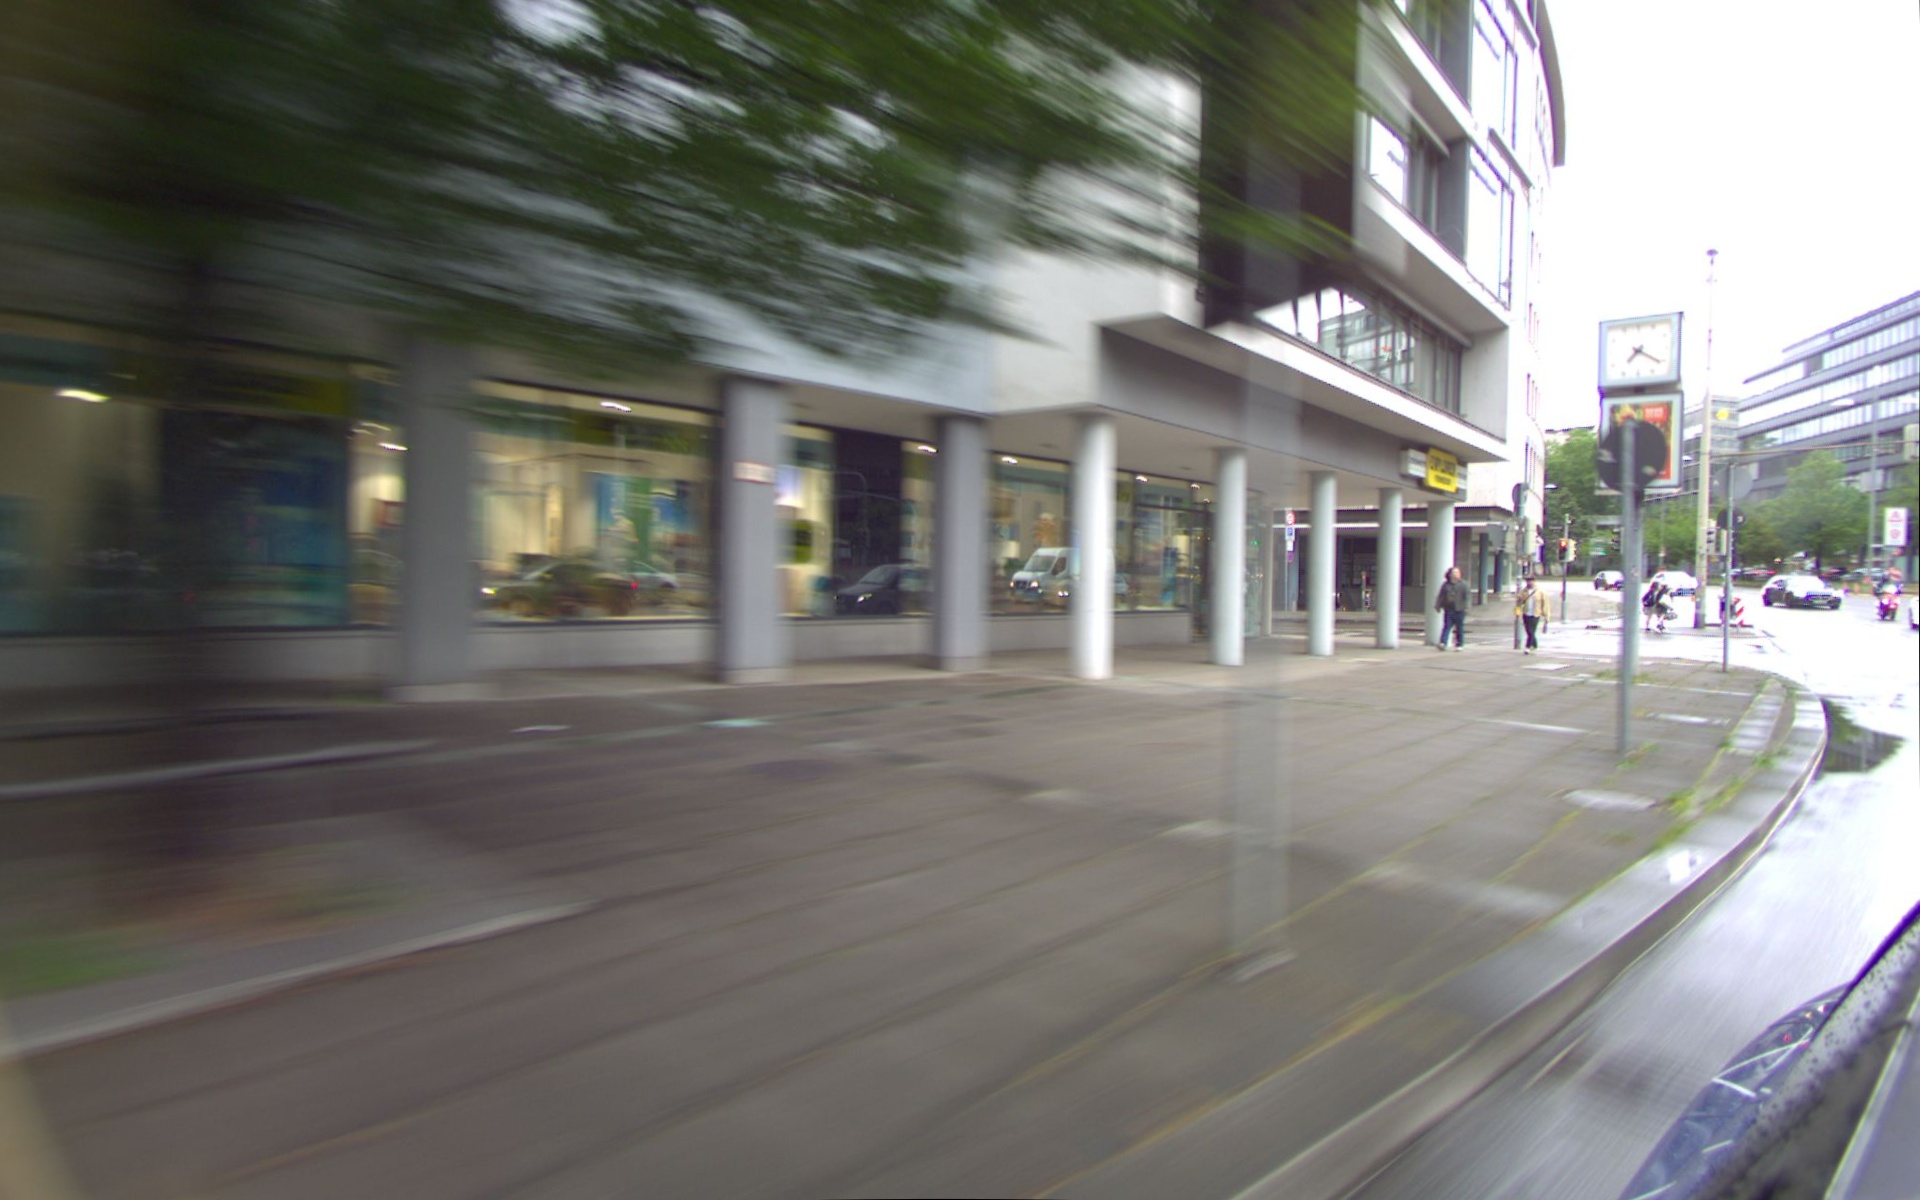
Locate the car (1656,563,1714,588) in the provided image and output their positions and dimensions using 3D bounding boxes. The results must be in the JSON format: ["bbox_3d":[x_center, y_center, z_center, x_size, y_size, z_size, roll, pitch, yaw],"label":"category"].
[{"bbox_3d":[46.157,-1.575,64.509,1.868,1.504,3.977,0,1,19],"label":"car"}]

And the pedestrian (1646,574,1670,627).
[{"bbox_3d":[21.687,0.015,31.432,0.525,1.617,0.720,0,1,41],"label":"pedestrian"}]

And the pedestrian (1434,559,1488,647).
[{"bbox_3d":[10.524,0.062,21.260,0.791,1.805,0.880,0,0,44],"label":"pedestrian"}]

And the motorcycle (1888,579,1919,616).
[{"bbox_3d":[35.224,-0.127,37.559,1.126,1.282,3.323,0,2,42],"label":"motorcycle"}]

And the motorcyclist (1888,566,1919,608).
[{"bbox_3d":[35.086,-0.475,37.389,1.148,1.529,1.179,0,1,42],"label":"motorcyclist"}]

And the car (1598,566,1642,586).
[{"bbox_3d":[50.351,-1.840,77.288,1.868,1.504,3.977,0,1,19],"label":"car"}]

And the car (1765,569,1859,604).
[{"bbox_3d":[39.111,-0.653,46.589,1.867,1.504,3.979,0,1,17],"label":"car"}]

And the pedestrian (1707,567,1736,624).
[{"bbox_3d":[24.137,-0.152,32.090,0.649,1.747,0.808,0,1,31],"label":"pedestrian"}]

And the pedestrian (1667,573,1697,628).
[{"bbox_3d":[22.118,0.005,31.007,0.651,1.617,1.043,0,1,41],"label":"pedestrian"}]

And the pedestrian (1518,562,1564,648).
[{"bbox_3d":[12.544,0.107,21.836,0.865,1.805,0.640,1,0,-43],"label":"pedestrian"}]
